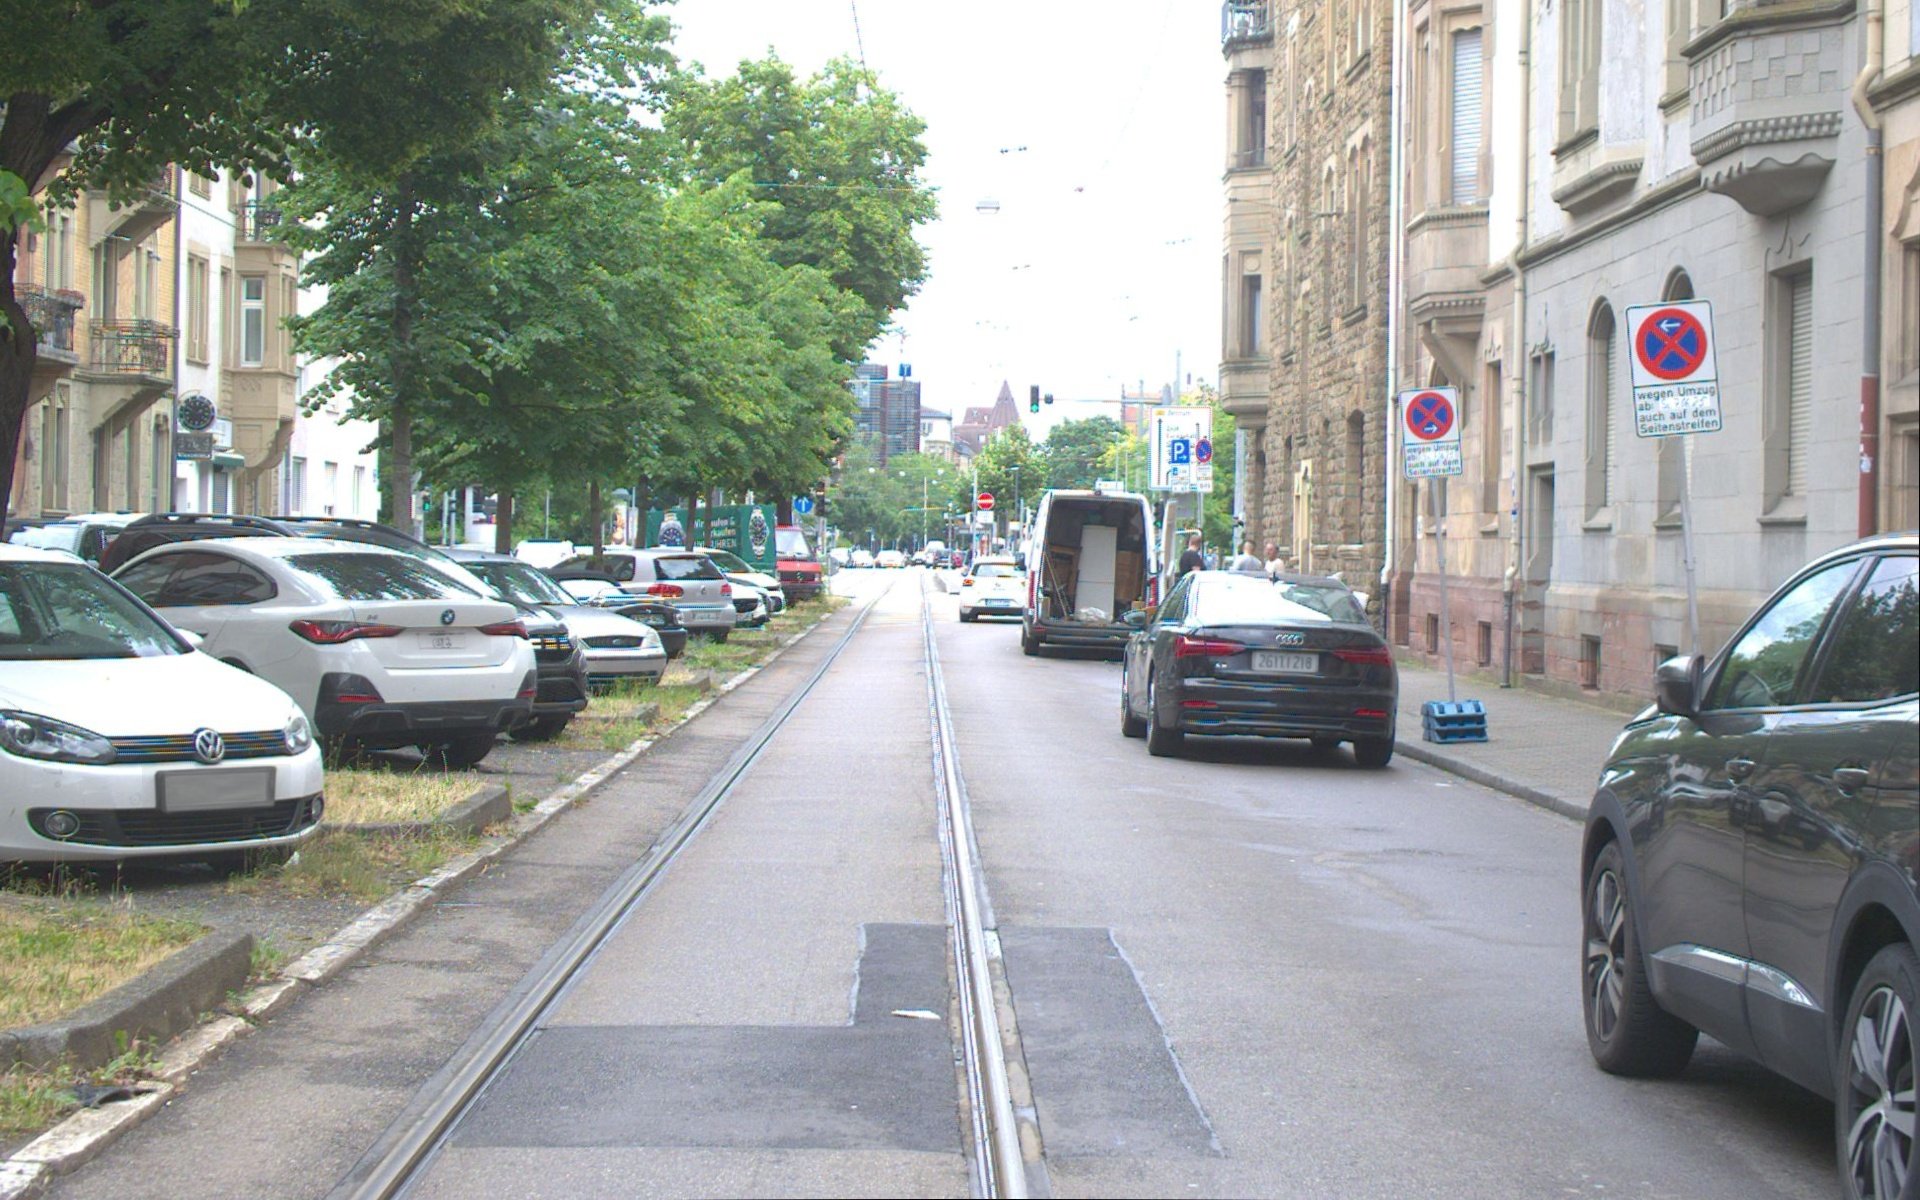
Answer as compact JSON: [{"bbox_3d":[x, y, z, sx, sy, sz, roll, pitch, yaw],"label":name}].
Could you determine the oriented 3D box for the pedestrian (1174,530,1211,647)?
[{"bbox_3d":[3.640,-0.192,53.858,0.499,1.809,0.803,-1,1,1],"label":"pedestrian"}]

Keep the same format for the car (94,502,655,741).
[{"bbox_3d":[-4.463,0.109,25.760,4.530,1.627,1.761,2,1,44],"label":"car"}]

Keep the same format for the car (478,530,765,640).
[{"bbox_3d":[-4.969,-0.232,50.217,4.114,1.479,1.793,2,1,40],"label":"car"}]

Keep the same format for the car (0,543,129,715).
[{"bbox_3d":[-8.962,0.204,31.179,1.804,1.448,4.653,1,1,-1],"label":"car"}]

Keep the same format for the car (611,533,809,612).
[{"bbox_3d":[-4.987,-0.554,68.197,3.860,1.458,1.685,2,1,42],"label":"car"}]

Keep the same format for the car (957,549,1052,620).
[{"bbox_3d":[1.002,-0.362,74.896,1.783,1.467,4.009,1,1,5],"label":"car"}]

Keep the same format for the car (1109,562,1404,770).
[{"bbox_3d":[2.289,0.455,27.830,1.801,1.433,5.196,1,1,-1],"label":"car"}]

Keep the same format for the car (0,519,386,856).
[{"bbox_3d":[-4.604,0.283,15.491,4.127,1.307,1.858,3,1,44],"label":"car"}]

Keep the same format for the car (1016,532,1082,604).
[{"bbox_3d":[2.497,-0.917,97.035,1.782,1.956,4.382,1,1,1],"label":"car"}]

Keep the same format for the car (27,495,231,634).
[{"bbox_3d":[-12.351,-0.528,51.399,1.881,1.945,5.094,1,1,-1],"label":"car"}]

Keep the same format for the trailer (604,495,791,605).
[{"bbox_3d":[-5.816,-1.115,76.035,3.666,2.336,1.927,2,1,33],"label":"trailer"}]

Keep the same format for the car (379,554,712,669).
[{"bbox_3d":[-4.841,0.110,39.860,3.960,1.198,1.664,2,1,43],"label":"car"}]

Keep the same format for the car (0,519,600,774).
[{"bbox_3d":[-4.638,0.245,22.600,4.539,1.485,2.031,2,1,44],"label":"car"}]

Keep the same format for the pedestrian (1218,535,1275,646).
[{"bbox_3d":[4.428,-0.156,53.118,0.702,1.694,0.493,-2,1,-28],"label":"pedestrian"}]

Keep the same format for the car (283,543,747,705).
[{"bbox_3d":[-4.301,0.189,32.739,4.665,1.363,1.753,2,1,42],"label":"car"}]

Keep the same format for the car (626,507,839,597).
[{"bbox_3d":[-5.239,-1.122,78.940,4.763,1.967,1.955,2,1,38],"label":"car"}]

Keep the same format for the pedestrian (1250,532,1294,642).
[{"bbox_3d":[4.897,-0.205,53.958,0.507,1.711,0.581,-1,1,-10],"label":"pedestrian"}]

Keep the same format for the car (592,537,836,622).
[{"bbox_3d":[-4.463,-0.386,61.988,4.337,1.430,1.894,2,1,42],"label":"car"}]

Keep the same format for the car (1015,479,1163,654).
[{"bbox_3d":[1.988,-0.563,55.035,2.013,2.540,7.017,3,1,0],"label":"car"}]

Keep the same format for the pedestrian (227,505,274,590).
[{"bbox_3d":[-14.783,-1.095,71.669,0.797,1.760,0.900,1,1,-1],"label":"pedestrian"}]

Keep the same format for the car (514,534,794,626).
[{"bbox_3d":[-5.183,-0.351,57.882,4.684,1.430,1.894,2,1,39],"label":"car"}]

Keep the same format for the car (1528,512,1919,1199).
[{"bbox_3d":[2.776,0.619,8.478,1.759,1.616,4.695,1,1,-2],"label":"car"}]
